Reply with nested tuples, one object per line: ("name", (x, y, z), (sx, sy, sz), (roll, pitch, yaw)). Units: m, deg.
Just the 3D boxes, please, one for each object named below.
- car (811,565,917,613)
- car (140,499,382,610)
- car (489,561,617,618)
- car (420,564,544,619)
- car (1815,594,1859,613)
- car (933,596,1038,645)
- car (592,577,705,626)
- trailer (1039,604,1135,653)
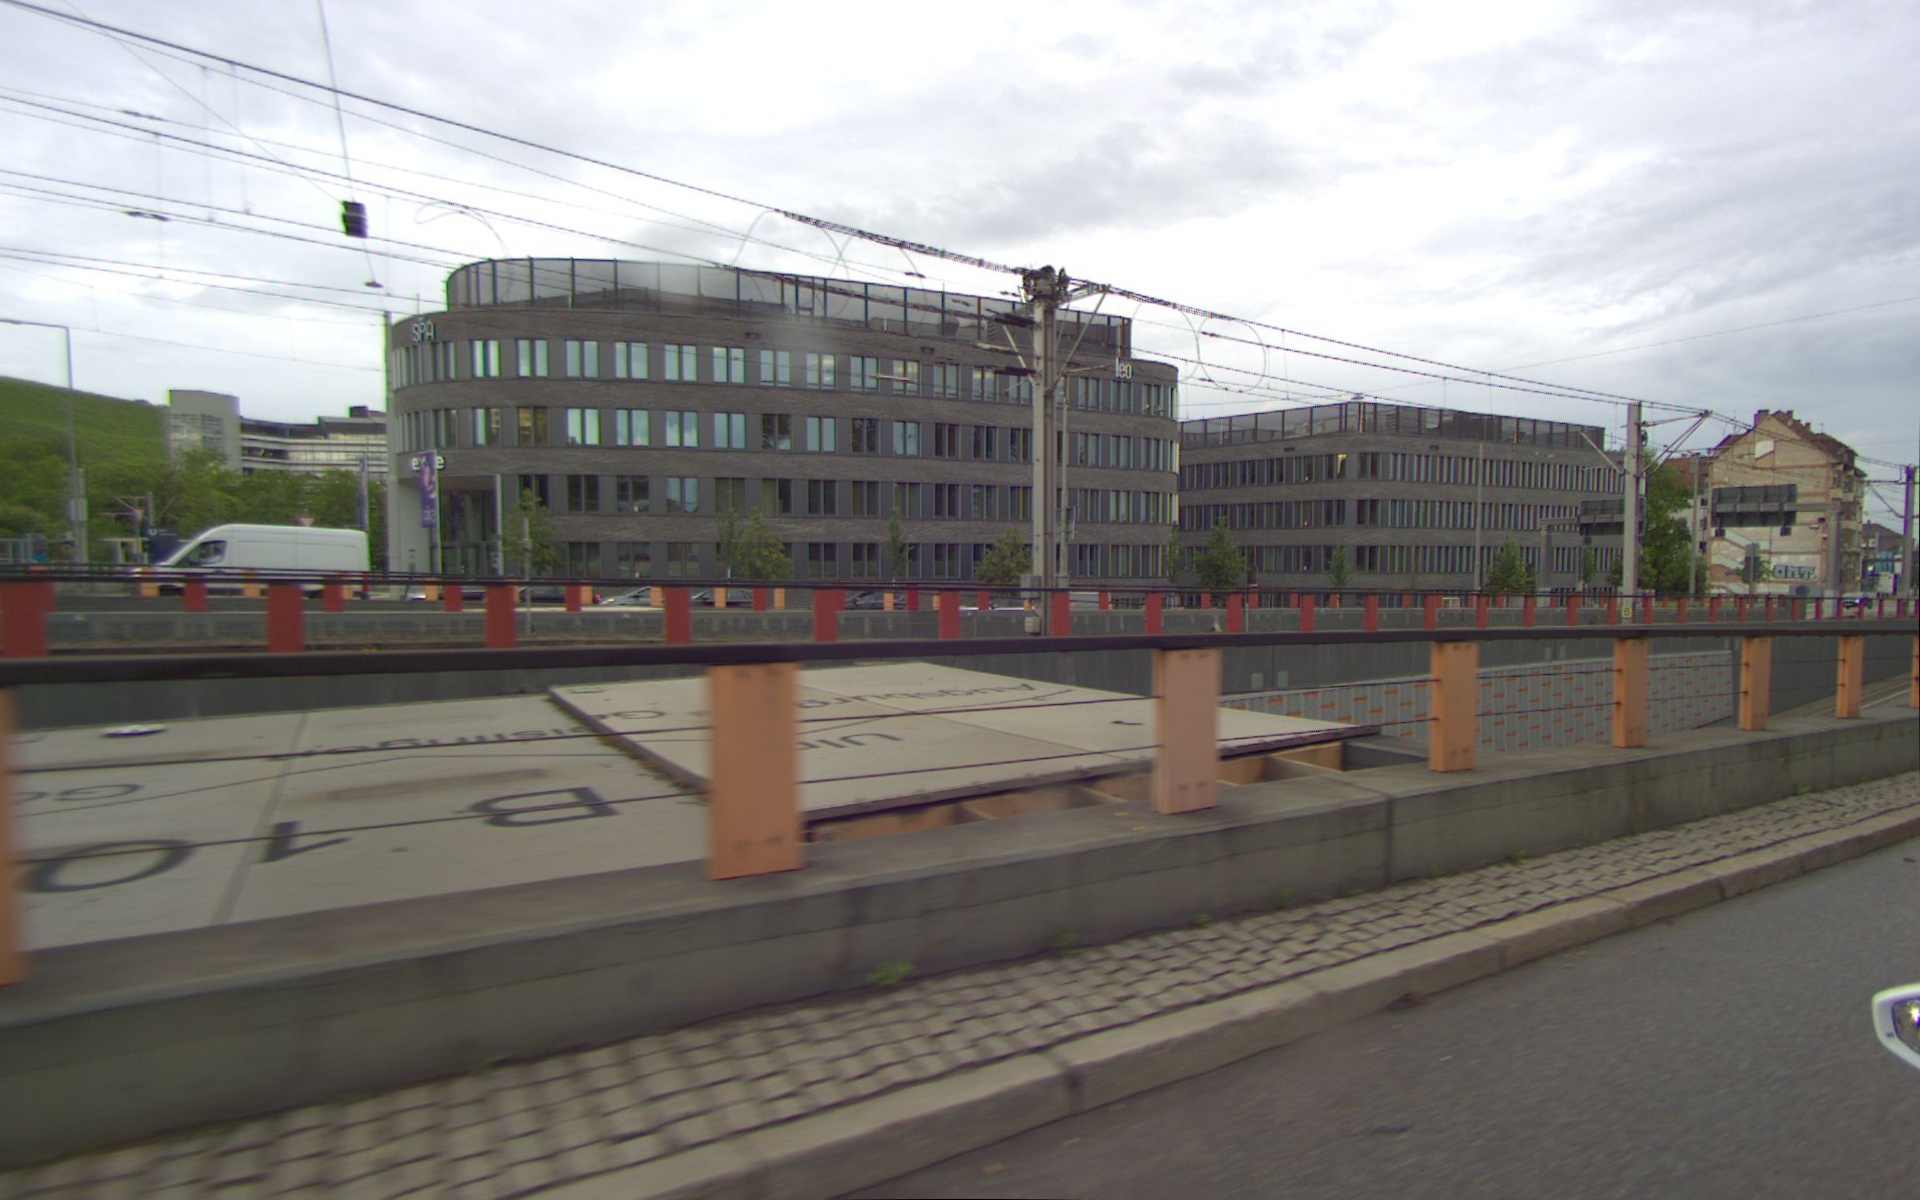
("car", (-3.882, -0.444, 40.795), (3.789, 1.605, 1.816), (5, -1, -31))
("car", (-20.486, -1.226, 29.791), (5.656, 2.869, 1.982), (2, -2, -33))
("car", (-13.964, -0.356, 34.491), (3.789, 1.605, 1.816), (5, -1, -31))
("car", (-17.146, -0.294, 36.073), (3.789, 1.605, 1.816), (5, -1, -31))
("car", (76.027, 0.314, 87.089), (3.787, 1.606, 1.816), (0, 2, -31))
("car", (1.150, 0.920, 43.788), (4.232, 1.771, 1.814), (5, -1, -34))
("car", (-12.077, 0.065, 38.970), (3.788, 1.606, 1.816), (4, 2, -31))
("trailer", (5.978, 1.333, 47.153), (4.230, 2.102, 1.814), (3, 0, -34))
